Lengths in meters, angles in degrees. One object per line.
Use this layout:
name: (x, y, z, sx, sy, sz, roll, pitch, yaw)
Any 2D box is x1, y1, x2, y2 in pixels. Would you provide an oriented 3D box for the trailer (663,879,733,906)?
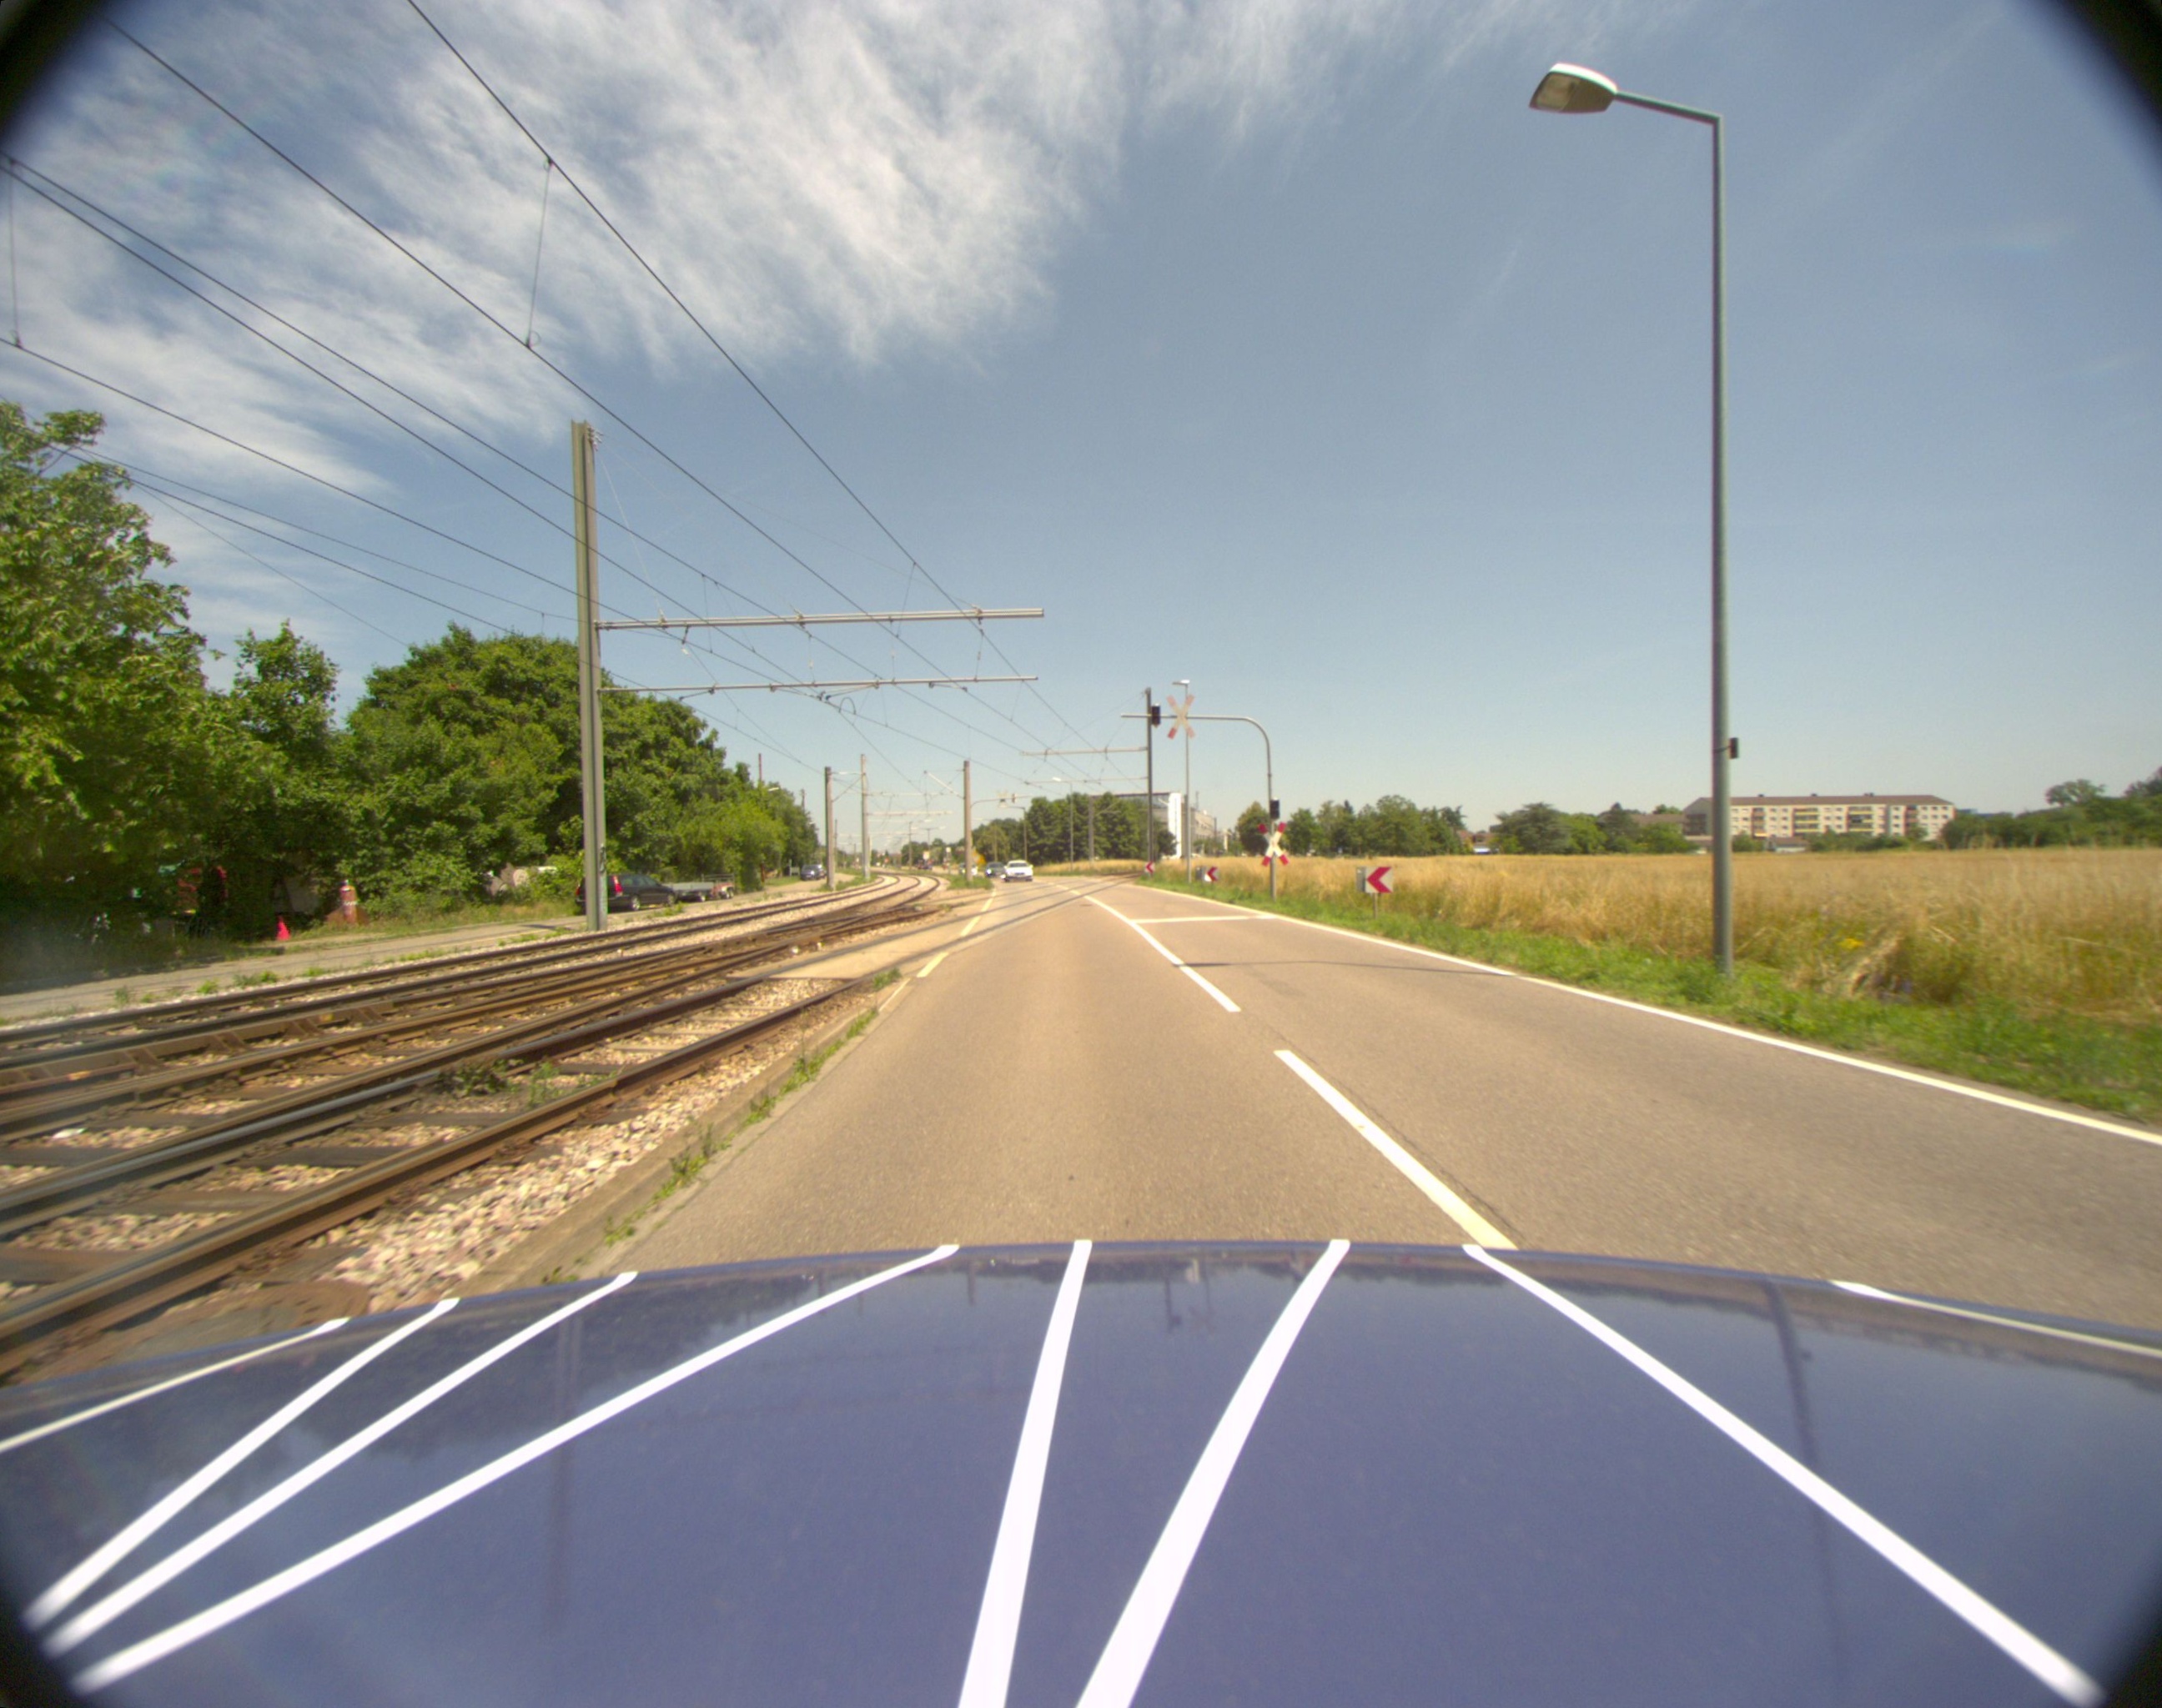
trailer: (-17.953, 1.782, 35.796, 1.423, 0.989, 3.999, -4, 0, -4)

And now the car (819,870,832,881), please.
car: (-36.516, 3.077, 108.819, 1.687, 1.406, 4.542, -1, 1, -18)

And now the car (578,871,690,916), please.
car: (-17.323, 1.463, 29.727, 1.802, 1.418, 4.737, -1, 1, -4)

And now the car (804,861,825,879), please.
car: (-28.148, 1.657, 80.329, 1.835, 1.647, 4.808, -1, 1, -16)

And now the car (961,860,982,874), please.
car: (-12.997, 1.549, 90.019, 1.812, 1.465, 3.505, -1, 1, -20)

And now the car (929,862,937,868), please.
car: (-39.385, 2.970, 202.026, 1.834, 1.592, 4.478, -2, -1, -15)

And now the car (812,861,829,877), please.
car: (-29.553, 1.661, 86.175, 1.683, 1.615, 4.703, -1, 1, -19)

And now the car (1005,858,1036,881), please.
car: (-4.236, 1.025, 52.716, 1.773, 1.434, 4.125, -1, 1, -9)

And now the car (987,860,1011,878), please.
car: (-7.248, 1.275, 66.723, 1.511, 1.423, 3.353, -1, 1, -16)

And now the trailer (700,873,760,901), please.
trailer: (-18.314, 1.701, 39.803, 1.466, 1.215, 3.998, -1, 1, -4)
